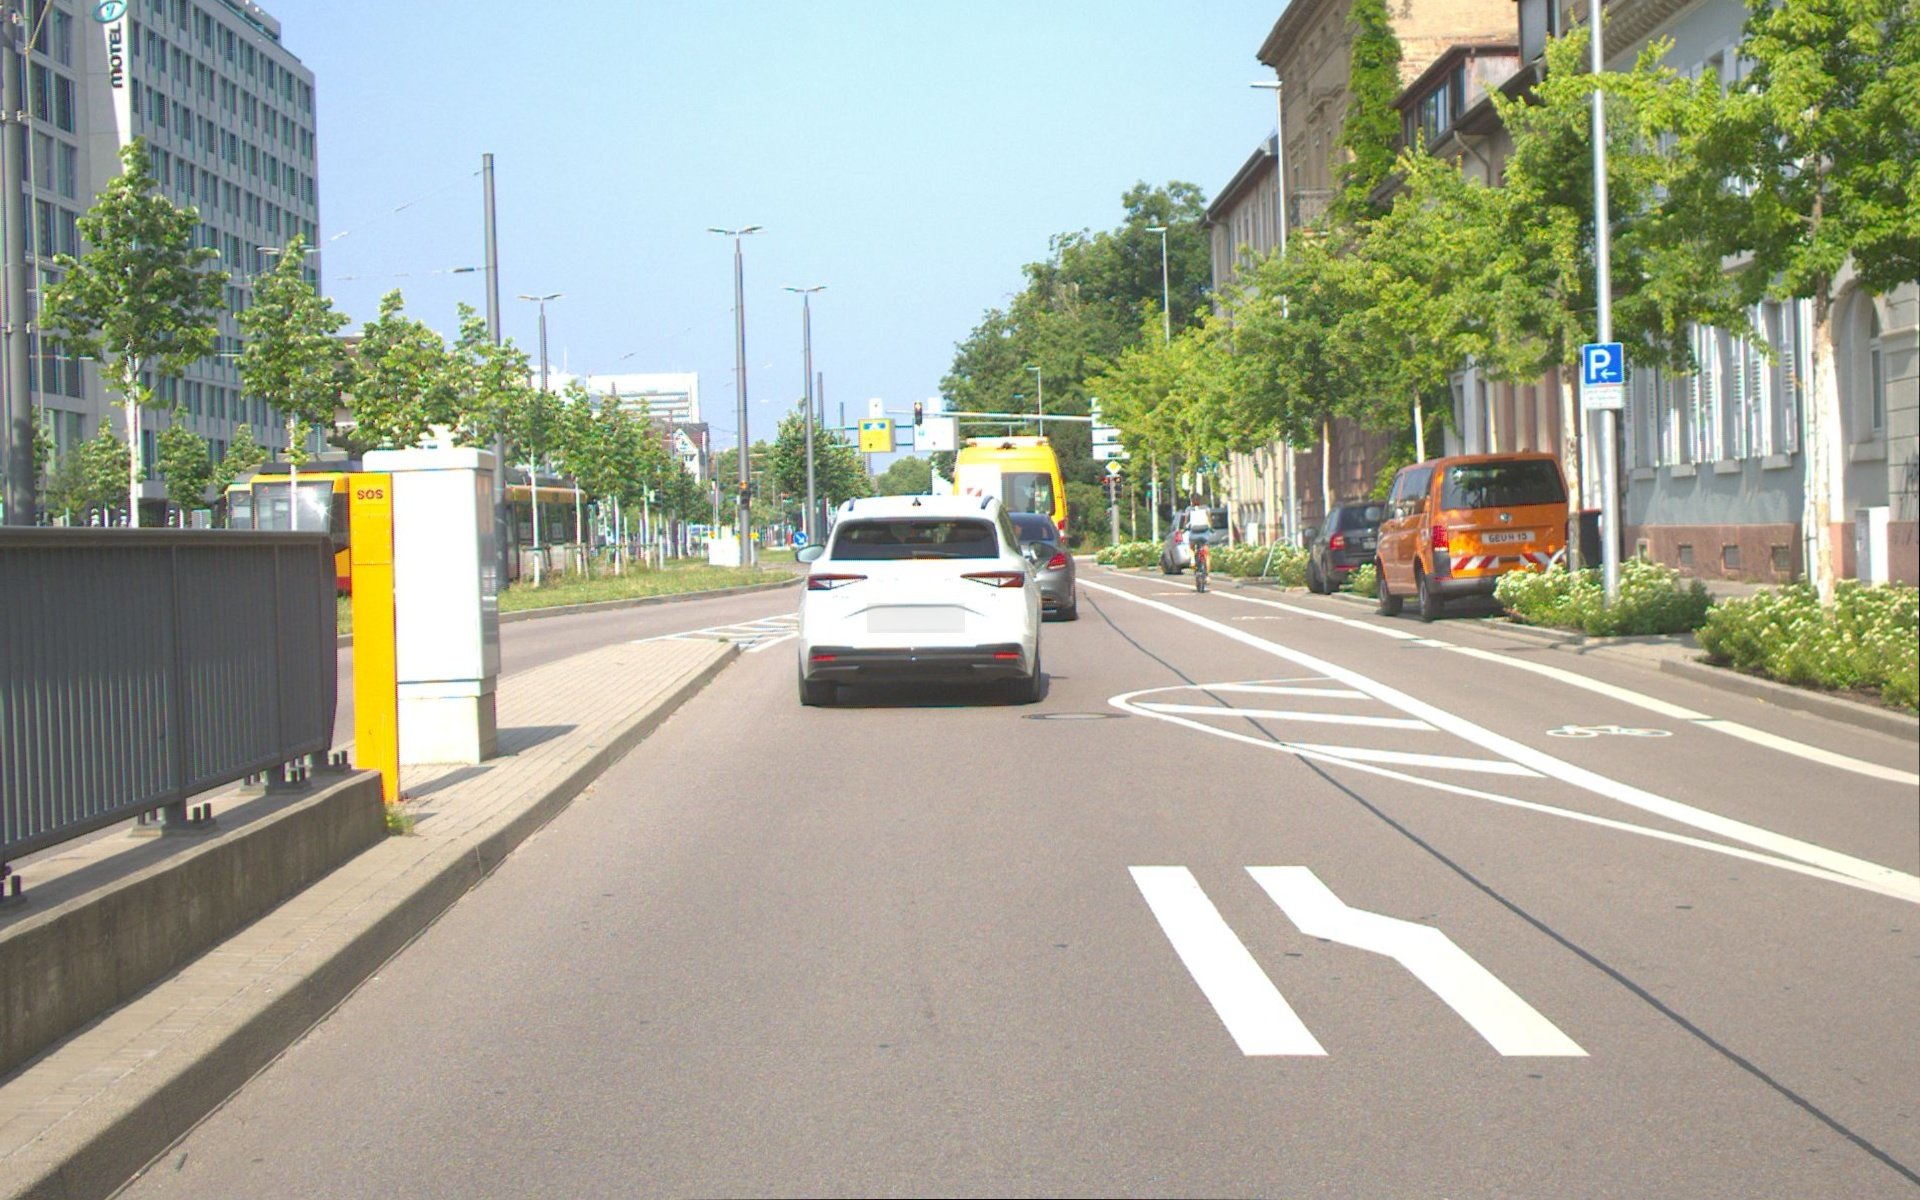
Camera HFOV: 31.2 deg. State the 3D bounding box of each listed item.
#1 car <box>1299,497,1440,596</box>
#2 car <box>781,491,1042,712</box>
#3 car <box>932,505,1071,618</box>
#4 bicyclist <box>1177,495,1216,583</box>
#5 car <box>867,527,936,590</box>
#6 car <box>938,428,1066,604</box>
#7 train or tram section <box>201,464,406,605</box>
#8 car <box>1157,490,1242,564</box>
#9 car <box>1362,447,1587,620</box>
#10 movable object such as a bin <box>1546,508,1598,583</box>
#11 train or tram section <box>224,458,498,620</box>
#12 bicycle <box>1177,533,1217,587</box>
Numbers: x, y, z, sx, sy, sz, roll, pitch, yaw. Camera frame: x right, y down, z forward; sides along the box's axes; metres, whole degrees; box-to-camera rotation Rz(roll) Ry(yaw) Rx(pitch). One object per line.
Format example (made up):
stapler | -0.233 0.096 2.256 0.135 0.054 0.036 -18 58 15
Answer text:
car | 6.636 -0.876 56.048 1.673 1.478 4.312 -3 1 0
car | -0.351 -0.036 27.170 1.870 1.569 4.000 -1 1 0
car | 0.538 -0.545 45.775 1.760 1.431 4.115 0 2 0
bicyclist | 4.281 -1.114 62.260 0.639 1.571 0.771 -1 1 2
car | -1.759 -1.287 104.194 1.930 1.815 4.000 -1 1 1
car | 0.690 -1.514 58.896 2.020 2.786 5.402 -1 3 0
train or tram section | -17.985 -1.858 95.308 2.860 3.524 14.899 -1 1 0
car | 6.008 -1.846 86.460 1.812 1.806 3.836 -1 2 -1
car | 6.398 -0.867 43.257 2.063 2.006 4.589 -1 2 0
movable object such as a bin | 9.929 -0.891 55.765 0.679 1.196 0.781 -1 1 -1
train or tram section | -14.840 -1.544 87.246 2.906 3.663 18.135 0 1 3
bicycle | 4.284 -0.726 62.140 0.655 0.935 1.517 -1 1 2
